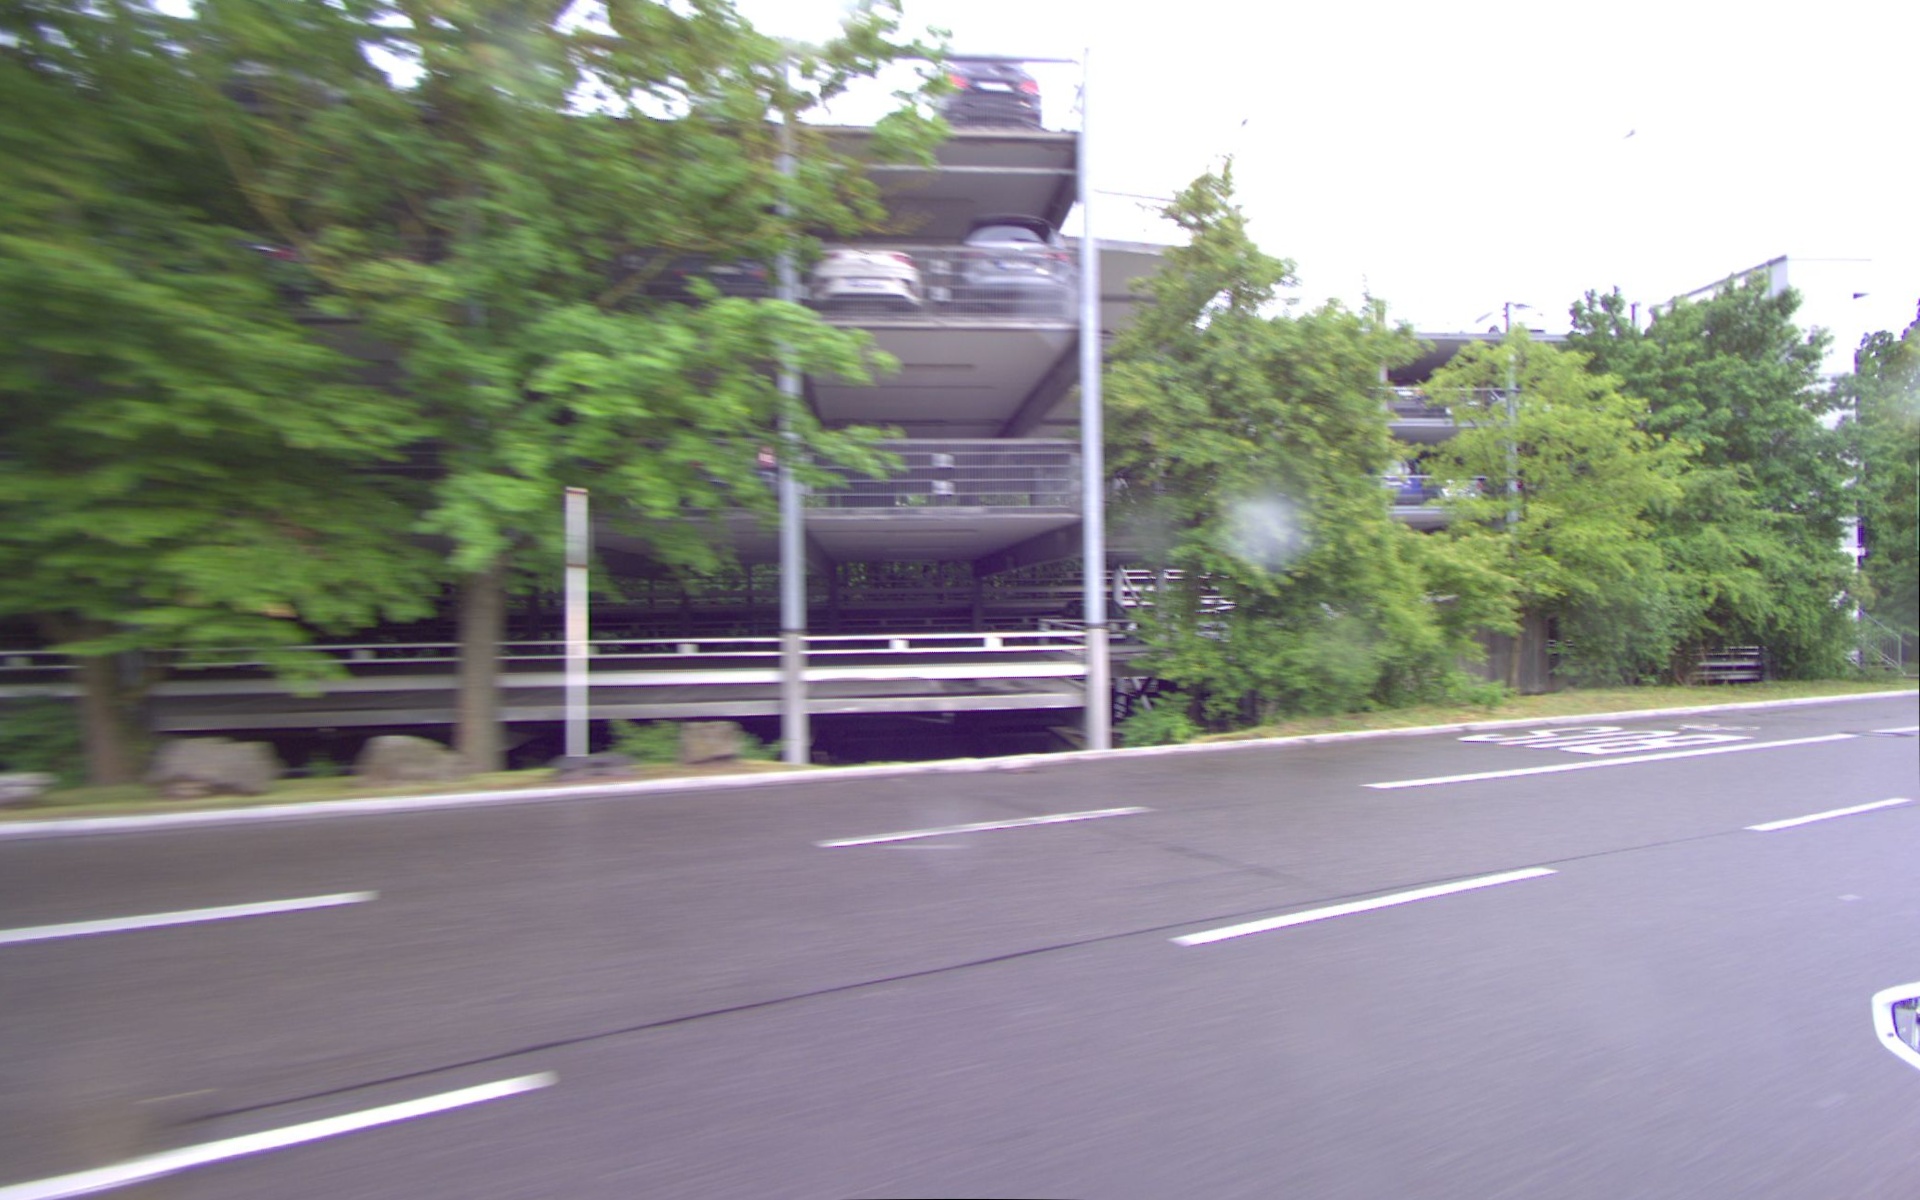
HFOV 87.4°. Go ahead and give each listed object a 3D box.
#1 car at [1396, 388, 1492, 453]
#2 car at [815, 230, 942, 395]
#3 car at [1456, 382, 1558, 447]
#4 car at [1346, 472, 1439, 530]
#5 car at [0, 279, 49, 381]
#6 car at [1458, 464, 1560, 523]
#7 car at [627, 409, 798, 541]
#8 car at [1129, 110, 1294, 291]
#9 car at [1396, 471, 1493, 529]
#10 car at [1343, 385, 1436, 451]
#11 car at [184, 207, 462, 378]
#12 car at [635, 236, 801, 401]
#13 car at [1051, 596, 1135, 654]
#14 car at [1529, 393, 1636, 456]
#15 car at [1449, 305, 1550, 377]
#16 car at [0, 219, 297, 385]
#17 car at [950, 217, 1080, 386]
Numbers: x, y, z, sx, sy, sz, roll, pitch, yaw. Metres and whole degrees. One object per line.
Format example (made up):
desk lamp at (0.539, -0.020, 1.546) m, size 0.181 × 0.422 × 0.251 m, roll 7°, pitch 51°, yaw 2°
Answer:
car at (17.063, -6.308, 35.561) m, size 1.557 × 1.539 × 3.241 m, roll 1°, pitch -3°, yaw -8°
car at (-1.307, -4.870, 17.584) m, size 1.961 × 1.539 × 4.001 m, roll 0°, pitch -3°, yaw -1°
car at (19.369, -6.537, 35.688) m, size 1.557 × 1.539 × 3.241 m, roll 1°, pitch -3°, yaw -8°
car at (15.062, -3.422, 35.149) m, size 1.557 × 1.539 × 3.241 m, roll 1°, pitch -3°, yaw -8°
car at (-17.172, -4.646, 15.852) m, size 1.961 × 1.539 × 3.999 m, roll 0°, pitch 1°, yaw -1°
car at (19.372, -3.720, 35.583) m, size 1.557 × 1.539 × 3.241 m, roll 1°, pitch -3°, yaw -8°
car at (-4.034, -1.992, 17.072) m, size 1.961 × 1.539 × 4.001 m, roll 0°, pitch -3°, yaw -1°
car at (4.468, -7.171, 18.490) m, size 1.961 × 1.539 × 4.001 m, roll 0°, pitch -3°, yaw -1°
car at (17.046, -3.479, 35.467) m, size 1.557 × 1.539 × 3.241 m, roll 1°, pitch -3°, yaw -8°
car at (15.042, -6.354, 35.365) m, size 1.557 × 1.539 × 3.241 m, roll 1°, pitch -3°, yaw -8°
car at (-9.949, -4.762, 16.136) m, size 1.961 × 1.539 × 3.999 m, roll 0°, pitch 1°, yaw -1°
car at (-4.010, -4.703, 17.371) m, size 1.961 × 1.539 × 4.001 m, roll 0°, pitch -3°, yaw -1°
car at (3.754, 0.731, 28.869) m, size 1.557 × 1.539 × 3.470 m, roll 1°, pitch -2°, yaw -8°
car at (22.445, -6.291, 36.336) m, size 1.557 × 1.539 × 3.241 m, roll 1°, pitch -3°, yaw -8°
car at (19.186, -9.183, 35.853) m, size 1.557 × 1.539 × 3.241 m, roll 1°, pitch -3°, yaw -8°
car at (-13.104, -4.698, 16.406) m, size 1.961 × 1.539 × 3.999 m, roll 0°, pitch 1°, yaw -1°
car at (0.827, -5.016, 17.446) m, size 1.961 × 1.539 × 4.001 m, roll 0°, pitch -3°, yaw -1°
